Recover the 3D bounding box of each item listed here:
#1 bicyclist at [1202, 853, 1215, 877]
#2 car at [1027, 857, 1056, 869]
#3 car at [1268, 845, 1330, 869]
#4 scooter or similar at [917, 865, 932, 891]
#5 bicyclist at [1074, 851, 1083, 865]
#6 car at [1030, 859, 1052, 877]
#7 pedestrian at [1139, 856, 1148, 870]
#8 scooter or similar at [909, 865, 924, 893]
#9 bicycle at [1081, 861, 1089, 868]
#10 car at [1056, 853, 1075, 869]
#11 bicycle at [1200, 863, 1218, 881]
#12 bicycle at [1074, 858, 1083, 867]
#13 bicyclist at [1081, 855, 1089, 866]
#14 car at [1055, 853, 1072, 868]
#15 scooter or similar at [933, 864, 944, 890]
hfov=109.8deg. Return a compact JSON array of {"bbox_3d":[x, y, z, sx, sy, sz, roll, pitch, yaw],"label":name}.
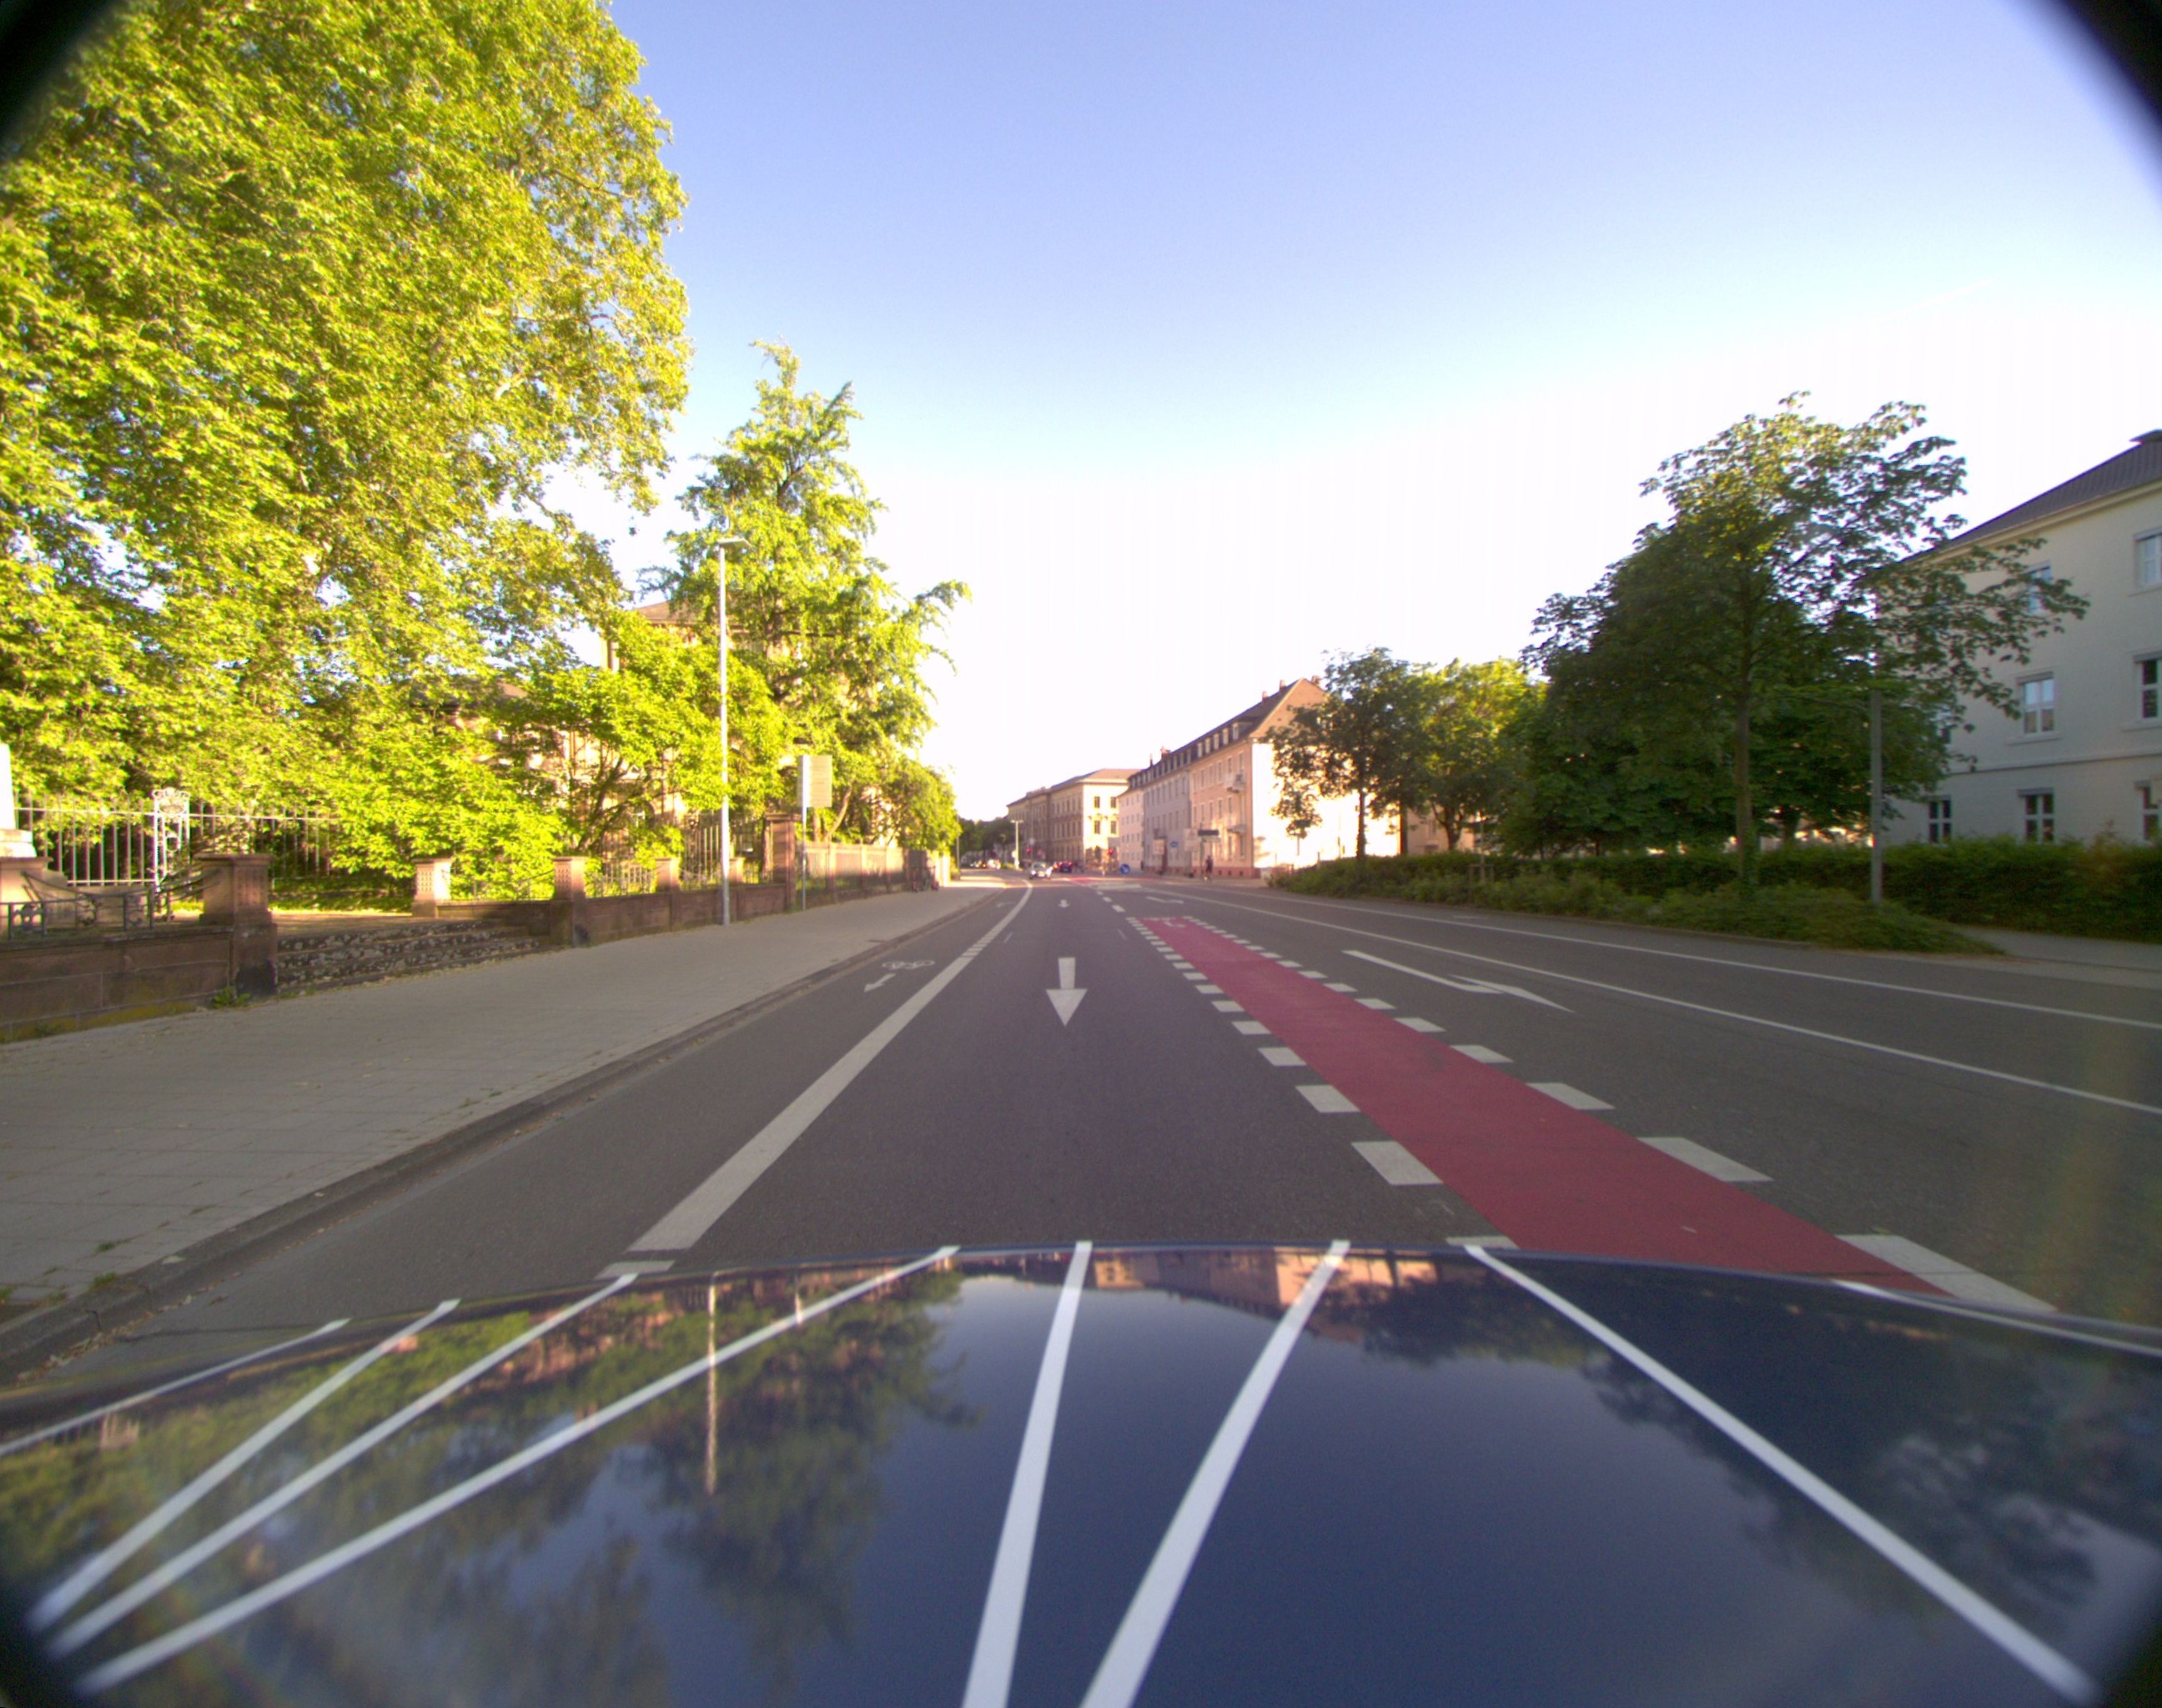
[{"bbox_3d":[8.630,0.748,51.294,0.691,1.553,0.838,1,0,-3],"label":"bicyclist"},{"bbox_3d":[-6.757,1.513,130.381,4.506,2.093,2.003,0,0,19],"label":"car"},{"bbox_3d":[16.472,0.196,57.562,4.000,1.652,1.998,-2,1,-9],"label":"car"},{"bbox_3d":[-7.560,1.149,36.700,0.576,1.177,1.487,0,0,-7],"label":"scooter or similar"},{"bbox_3d":[-0.358,0.533,108.153,0.956,2.002,1.307,0,0,-9],"label":"bicyclist"},{"bbox_3d":[-3.368,1.142,63.611,1.710,1.397,4.262,0,0,-5],"label":"car"},{"bbox_3d":[8.115,1.177,99.341,0.949,1.894,1.062,-2,1,-7],"label":"pedestrian"},{"bbox_3d":[-7.547,1.134,34.848,0.577,1.246,1.486,0,0,-15],"label":"scooter or similar"},{"bbox_3d":[0.516,1.345,99.767,0.663,0.907,2.861,0,0,-9],"label":"bicycle"},{"bbox_3d":[-1.984,0.835,96.247,1.999,2.002,3.998,0,0,-5],"label":"car"},{"bbox_3d":[8.622,1.213,51.383,0.697,1.152,2.245,1,0,-3],"label":"bicycle"},{"bbox_3d":[-0.374,1.192,108.226,0.956,1.216,2.777,0,0,-9],"label":"bicycle"},{"bbox_3d":[0.522,0.890,99.711,1.026,1.481,0.870,0,0,-9],"label":"bicyclist"},{"bbox_3d":[-2.357,0.893,101.981,1.999,2.002,3.998,0,0,-5],"label":"car"},{"bbox_3d":[-7.087,1.139,37.782,0.517,1.233,1.521,0,0,-11],"label":"scooter or similar"}]
